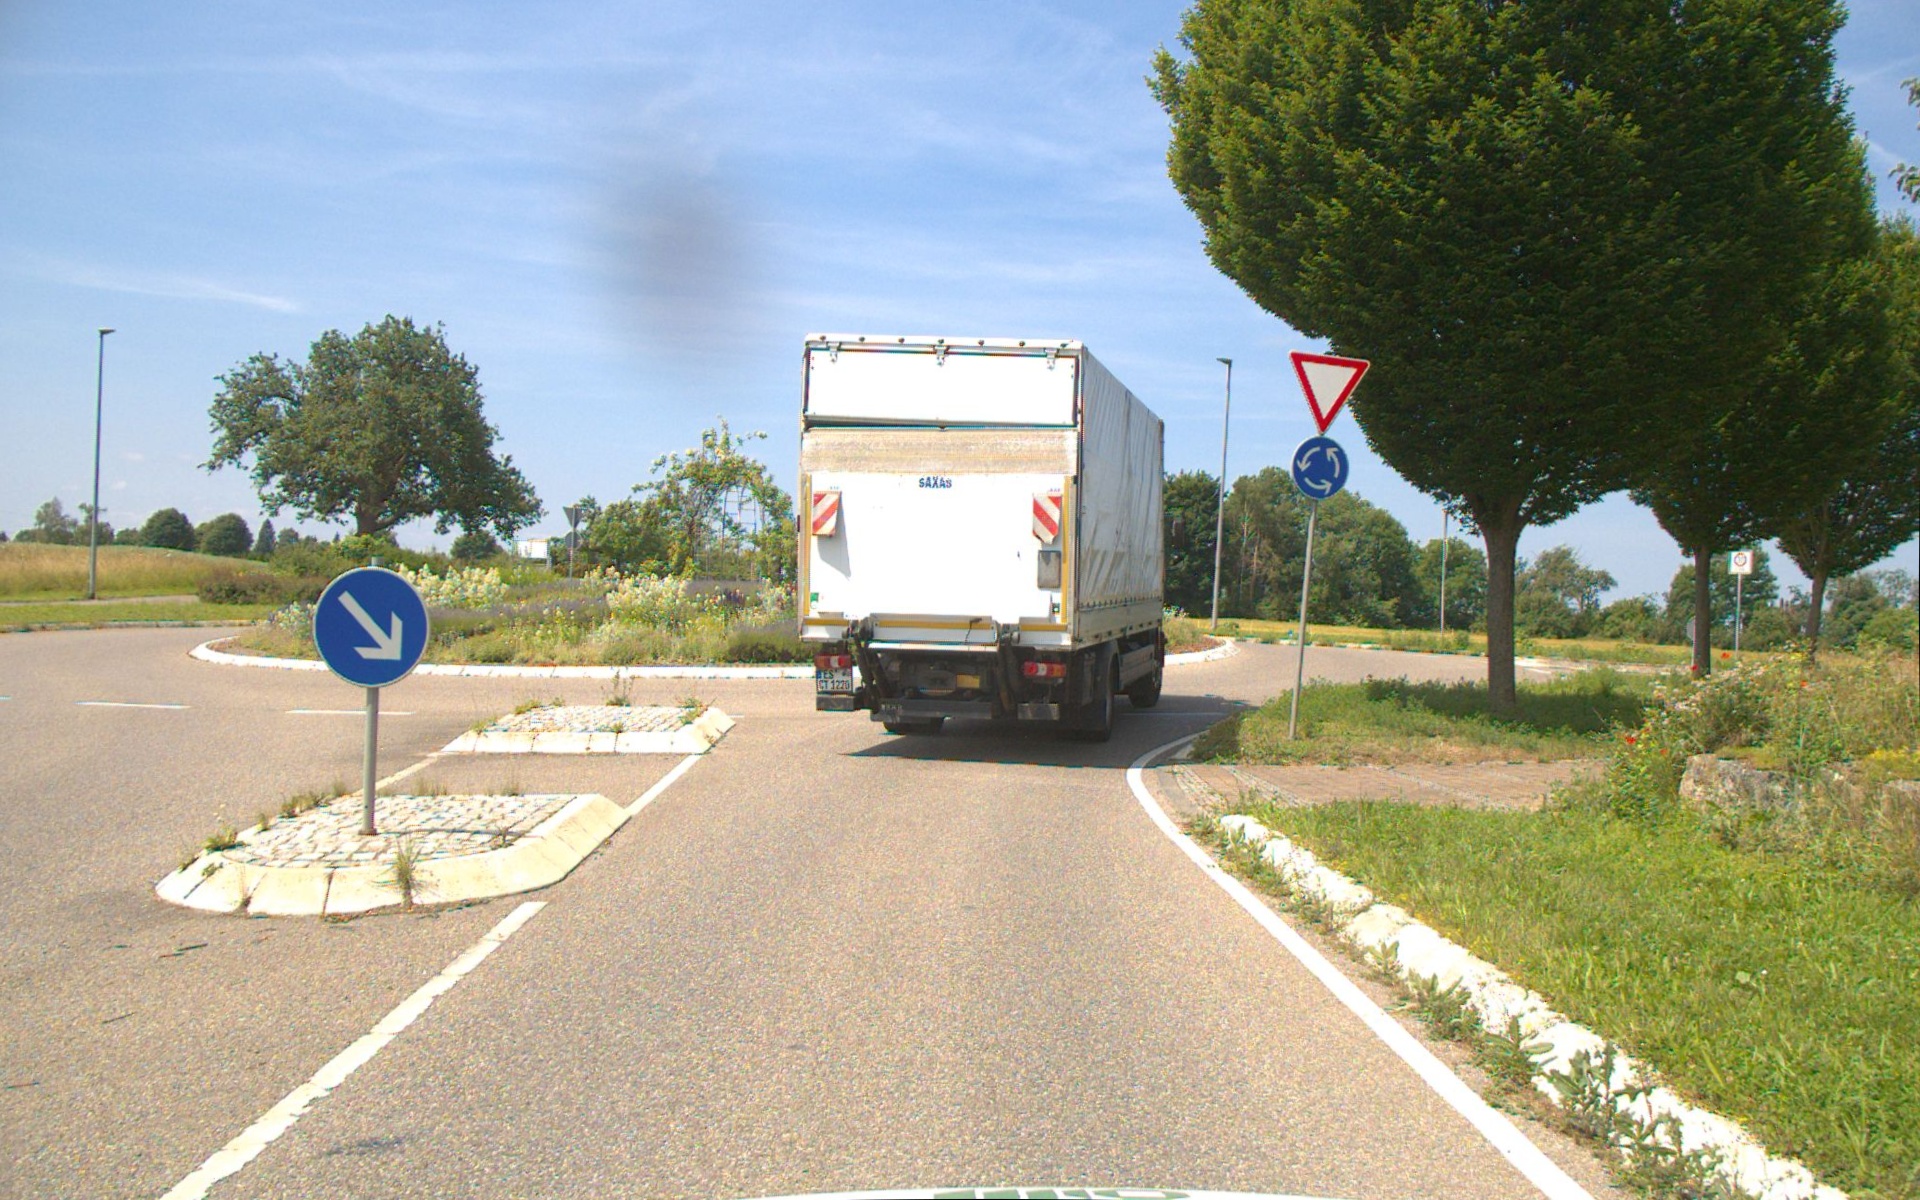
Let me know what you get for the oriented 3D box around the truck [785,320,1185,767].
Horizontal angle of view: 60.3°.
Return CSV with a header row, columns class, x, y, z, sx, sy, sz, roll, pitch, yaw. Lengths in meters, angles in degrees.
class,x,y,z,sx,sy,sz,roll,pitch,yaw
truck,0.803,-0.527,18.673,2.708,3.735,9.391,1,1,12
